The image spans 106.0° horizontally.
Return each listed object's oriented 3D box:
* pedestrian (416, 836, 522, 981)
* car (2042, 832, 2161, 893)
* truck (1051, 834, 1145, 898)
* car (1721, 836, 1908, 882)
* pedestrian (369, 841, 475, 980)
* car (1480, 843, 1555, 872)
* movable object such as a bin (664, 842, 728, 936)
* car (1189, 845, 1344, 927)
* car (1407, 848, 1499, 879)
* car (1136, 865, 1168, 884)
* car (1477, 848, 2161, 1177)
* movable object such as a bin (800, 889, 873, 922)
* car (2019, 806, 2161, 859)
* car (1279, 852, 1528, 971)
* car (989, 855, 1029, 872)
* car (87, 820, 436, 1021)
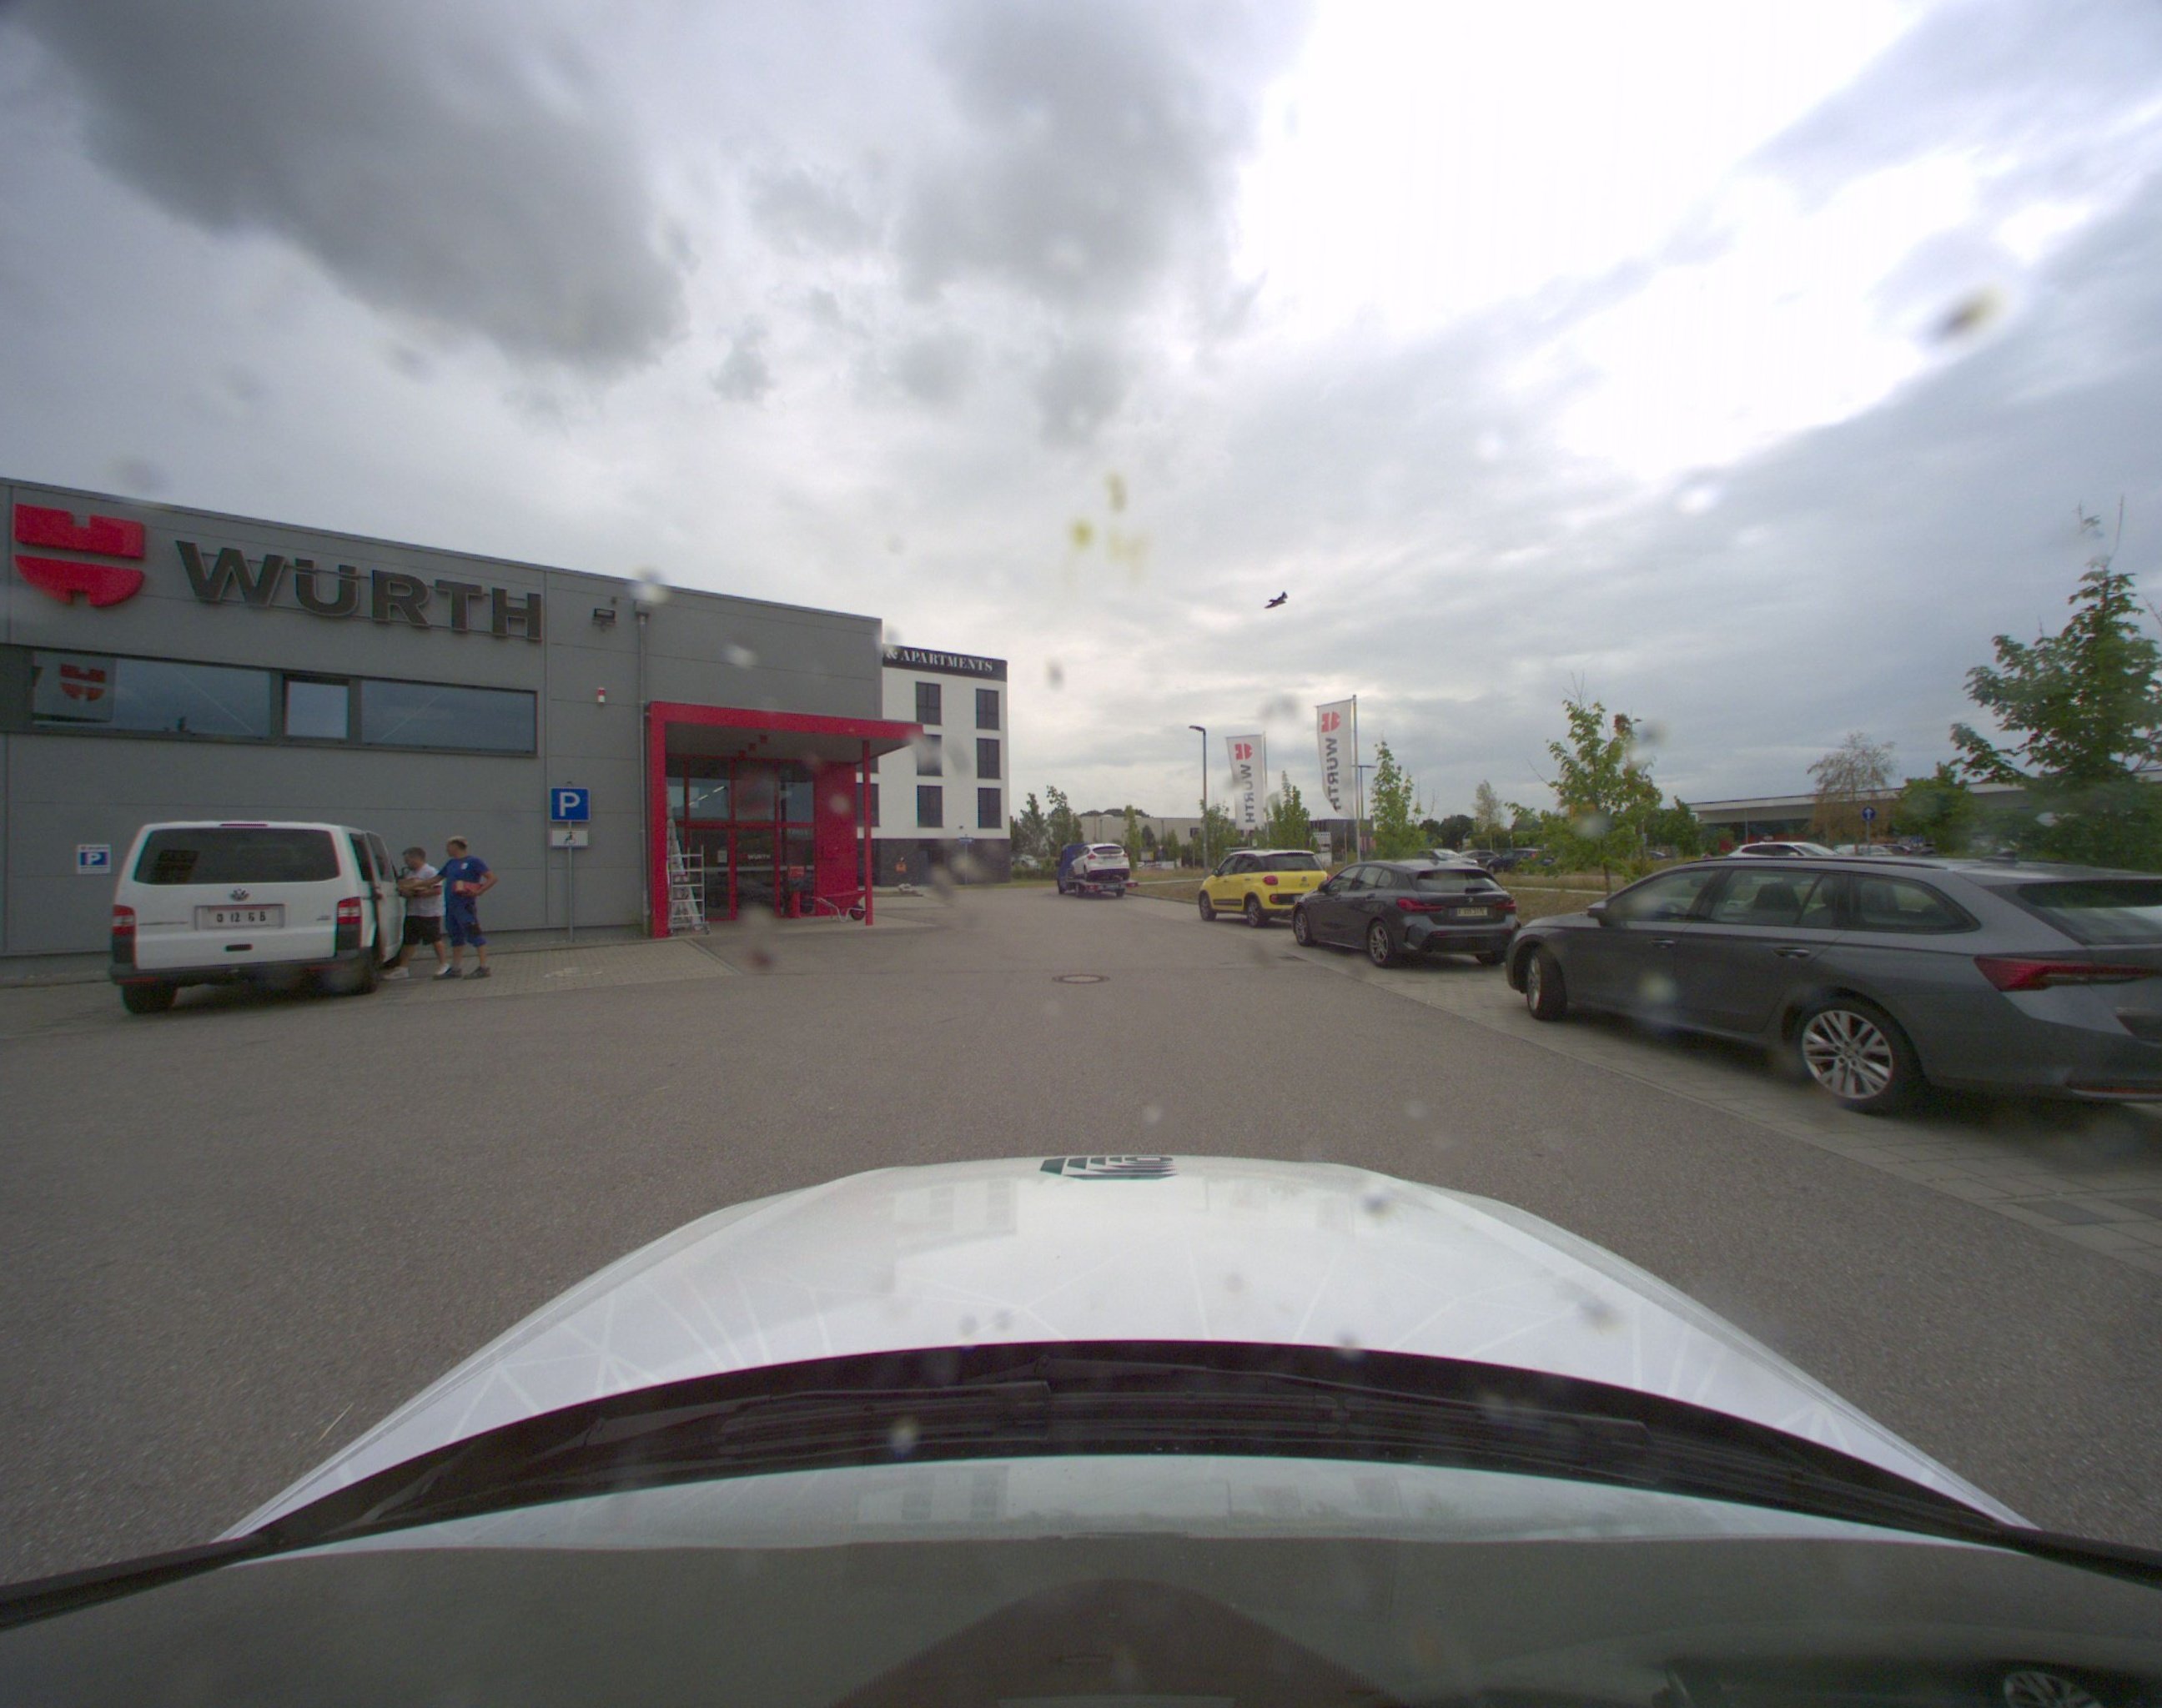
[{"bbox_3d":[-7.992,0.679,10.650,0.670,1.802,0.885,-1,-1,28],"label":"pedestrian"},{"bbox_3d":[25.459,0.175,18.440,1.761,1.395,4.546,-1,0,-7],"label":"car"},{"bbox_3d":[0.534,0.499,35.051,2.333,2.406,7.864,-1,0,-12],"label":"truck"},{"bbox_3d":[24.545,0.172,27.520,1.764,1.395,4.539,-1,0,-12],"label":"car"},{"bbox_3d":[-8.734,0.717,10.816,0.618,1.751,0.911,-1,0,29],"label":"pedestrian"},{"bbox_3d":[24.331,0.209,45.523,1.655,1.459,3.909,-3,0,-8],"label":"car"},{"bbox_3d":[-7.256,0.640,15.335,0.916,1.672,0.736,-4,1,-33],"label":"movable object such as a bin"},{"bbox_3d":[4.093,0.687,18.662,1.860,1.650,3.979,0,-1,-15],"label":"car"},{"bbox_3d":[18.169,0.466,40.063,1.764,1.395,4.539,-1,0,-12],"label":"car"},{"bbox_3d":[7.615,2.173,87.494,1.998,1.860,3.978,-2,0,-16],"label":"car"},{"bbox_3d":[5.066,0.715,5.983,1.750,1.469,4.465,-1,0,-7],"label":"car"},{"bbox_3d":[-5.712,1.182,19.027,1.496,0.704,0.956,0,-1,-27],"label":"movable object such as a bin"},{"bbox_3d":[45.599,-0.960,36.099,5.566,2.122,2.337,-3,0,-3],"label":"car"},{"bbox_3d":[4.574,0.723,12.289,1.750,1.469,4.097,-1,0,-7],"label":"car"},{"bbox_3d":[-8.100,1.082,91.611,3.962,1.772,2.006,-3,0,10],"label":"car"},{"bbox_3d":[-9.487,0.647,9.906,2.069,1.855,4.020,-2,0,-32],"label":"car"}]
